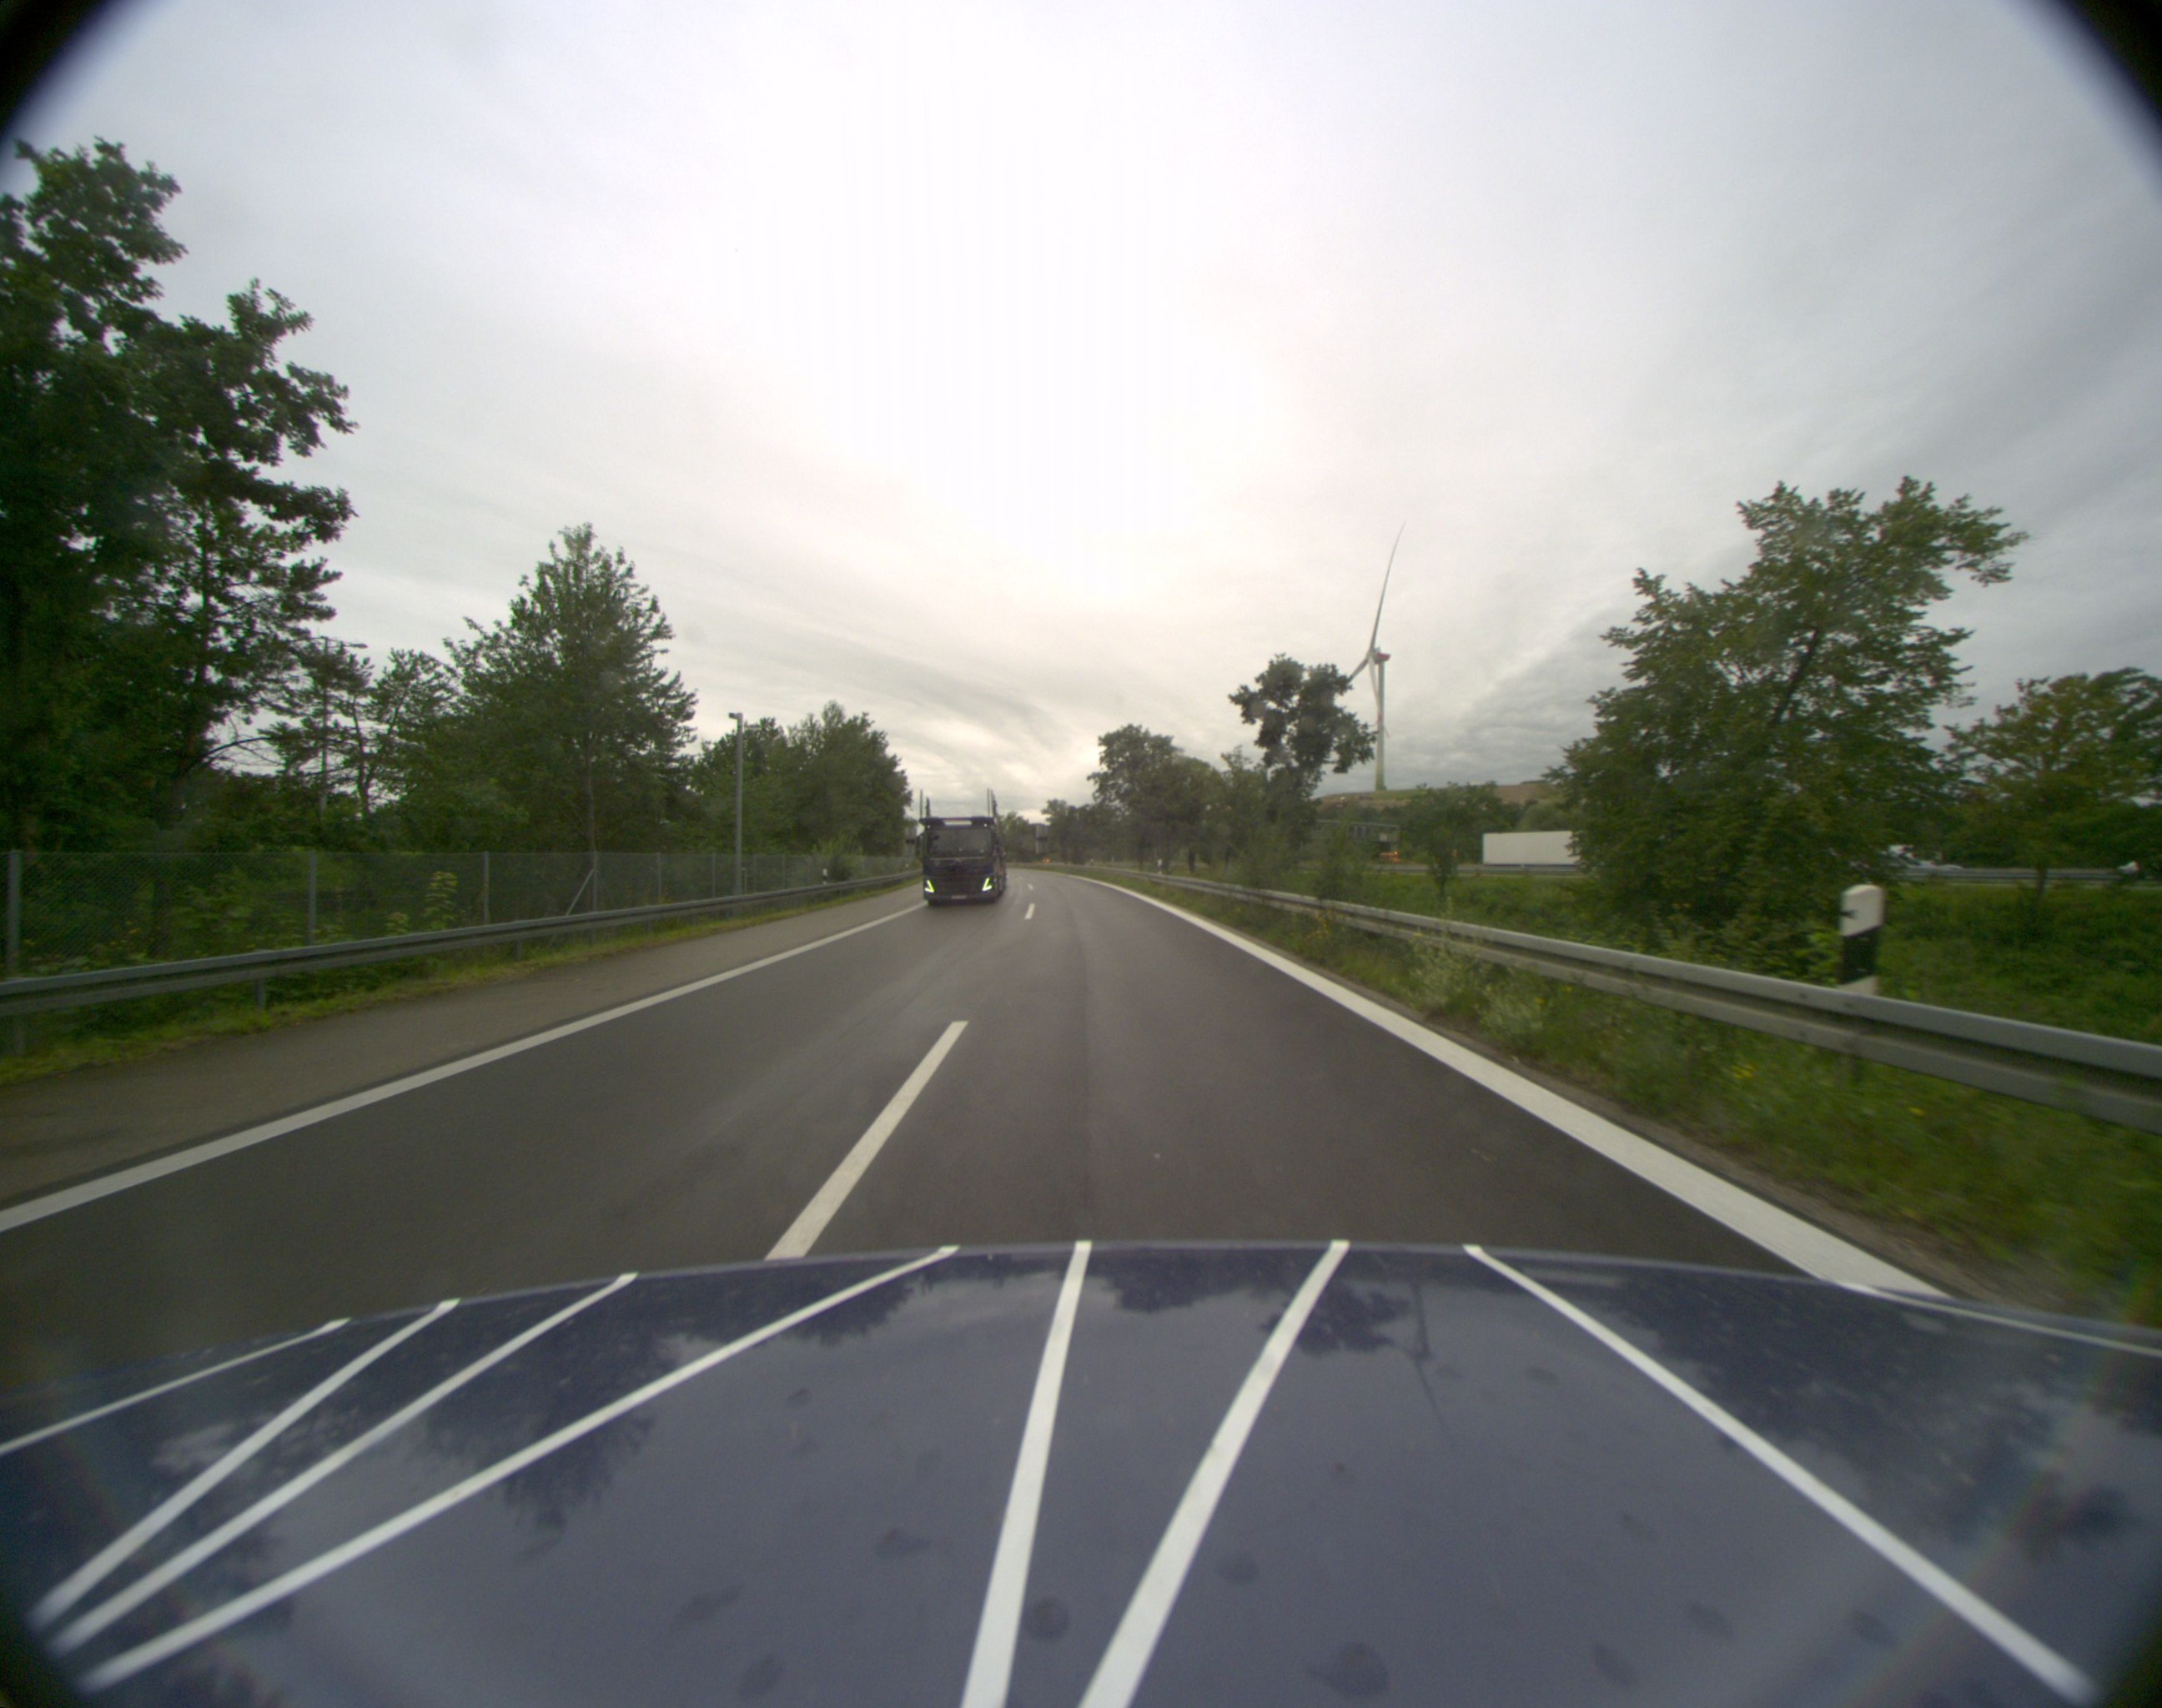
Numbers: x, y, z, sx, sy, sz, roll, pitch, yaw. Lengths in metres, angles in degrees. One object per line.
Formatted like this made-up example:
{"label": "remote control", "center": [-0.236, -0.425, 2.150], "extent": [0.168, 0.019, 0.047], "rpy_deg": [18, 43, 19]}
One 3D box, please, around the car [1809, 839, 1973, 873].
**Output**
{"label": "car", "center": [75.219, 0.139, 70.960], "extent": [2.745, 2.965, 10.059], "rpy_deg": [-1, 1, -27]}

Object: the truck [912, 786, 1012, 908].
{"label": "truck", "center": [-4.354, -0.220, 29.854], "extent": [2.746, 3.944, 9.126], "rpy_deg": [-3, 0, -3]}

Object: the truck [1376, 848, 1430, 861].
{"label": "truck", "center": [52.093, 0.065, 123.200], "extent": [2.003, 2.002, 8.794], "rpy_deg": [-1, 1, -26]}

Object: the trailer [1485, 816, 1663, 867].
{"label": "trailer", "center": [44.111, -0.996, 68.963], "extent": [2.779, 4.111, 13.919], "rpy_deg": [-1, 0, -29]}

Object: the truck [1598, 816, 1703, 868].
{"label": "truck", "center": [47.242, -0.965, 63.270], "extent": [2.779, 4.111, 6.430], "rpy_deg": [-1, 0, -29]}

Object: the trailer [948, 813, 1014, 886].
{"label": "trailer", "center": [-4.981, -0.179, 39.634], "extent": [2.785, 3.265, 10.403], "rpy_deg": [-1, 0, -4]}

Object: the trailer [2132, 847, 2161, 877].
{"label": "trailer", "center": [59.910, 0.443, 40.965], "extent": [1.891, 1.617, 3.602], "rpy_deg": [-1, 1, -29]}
